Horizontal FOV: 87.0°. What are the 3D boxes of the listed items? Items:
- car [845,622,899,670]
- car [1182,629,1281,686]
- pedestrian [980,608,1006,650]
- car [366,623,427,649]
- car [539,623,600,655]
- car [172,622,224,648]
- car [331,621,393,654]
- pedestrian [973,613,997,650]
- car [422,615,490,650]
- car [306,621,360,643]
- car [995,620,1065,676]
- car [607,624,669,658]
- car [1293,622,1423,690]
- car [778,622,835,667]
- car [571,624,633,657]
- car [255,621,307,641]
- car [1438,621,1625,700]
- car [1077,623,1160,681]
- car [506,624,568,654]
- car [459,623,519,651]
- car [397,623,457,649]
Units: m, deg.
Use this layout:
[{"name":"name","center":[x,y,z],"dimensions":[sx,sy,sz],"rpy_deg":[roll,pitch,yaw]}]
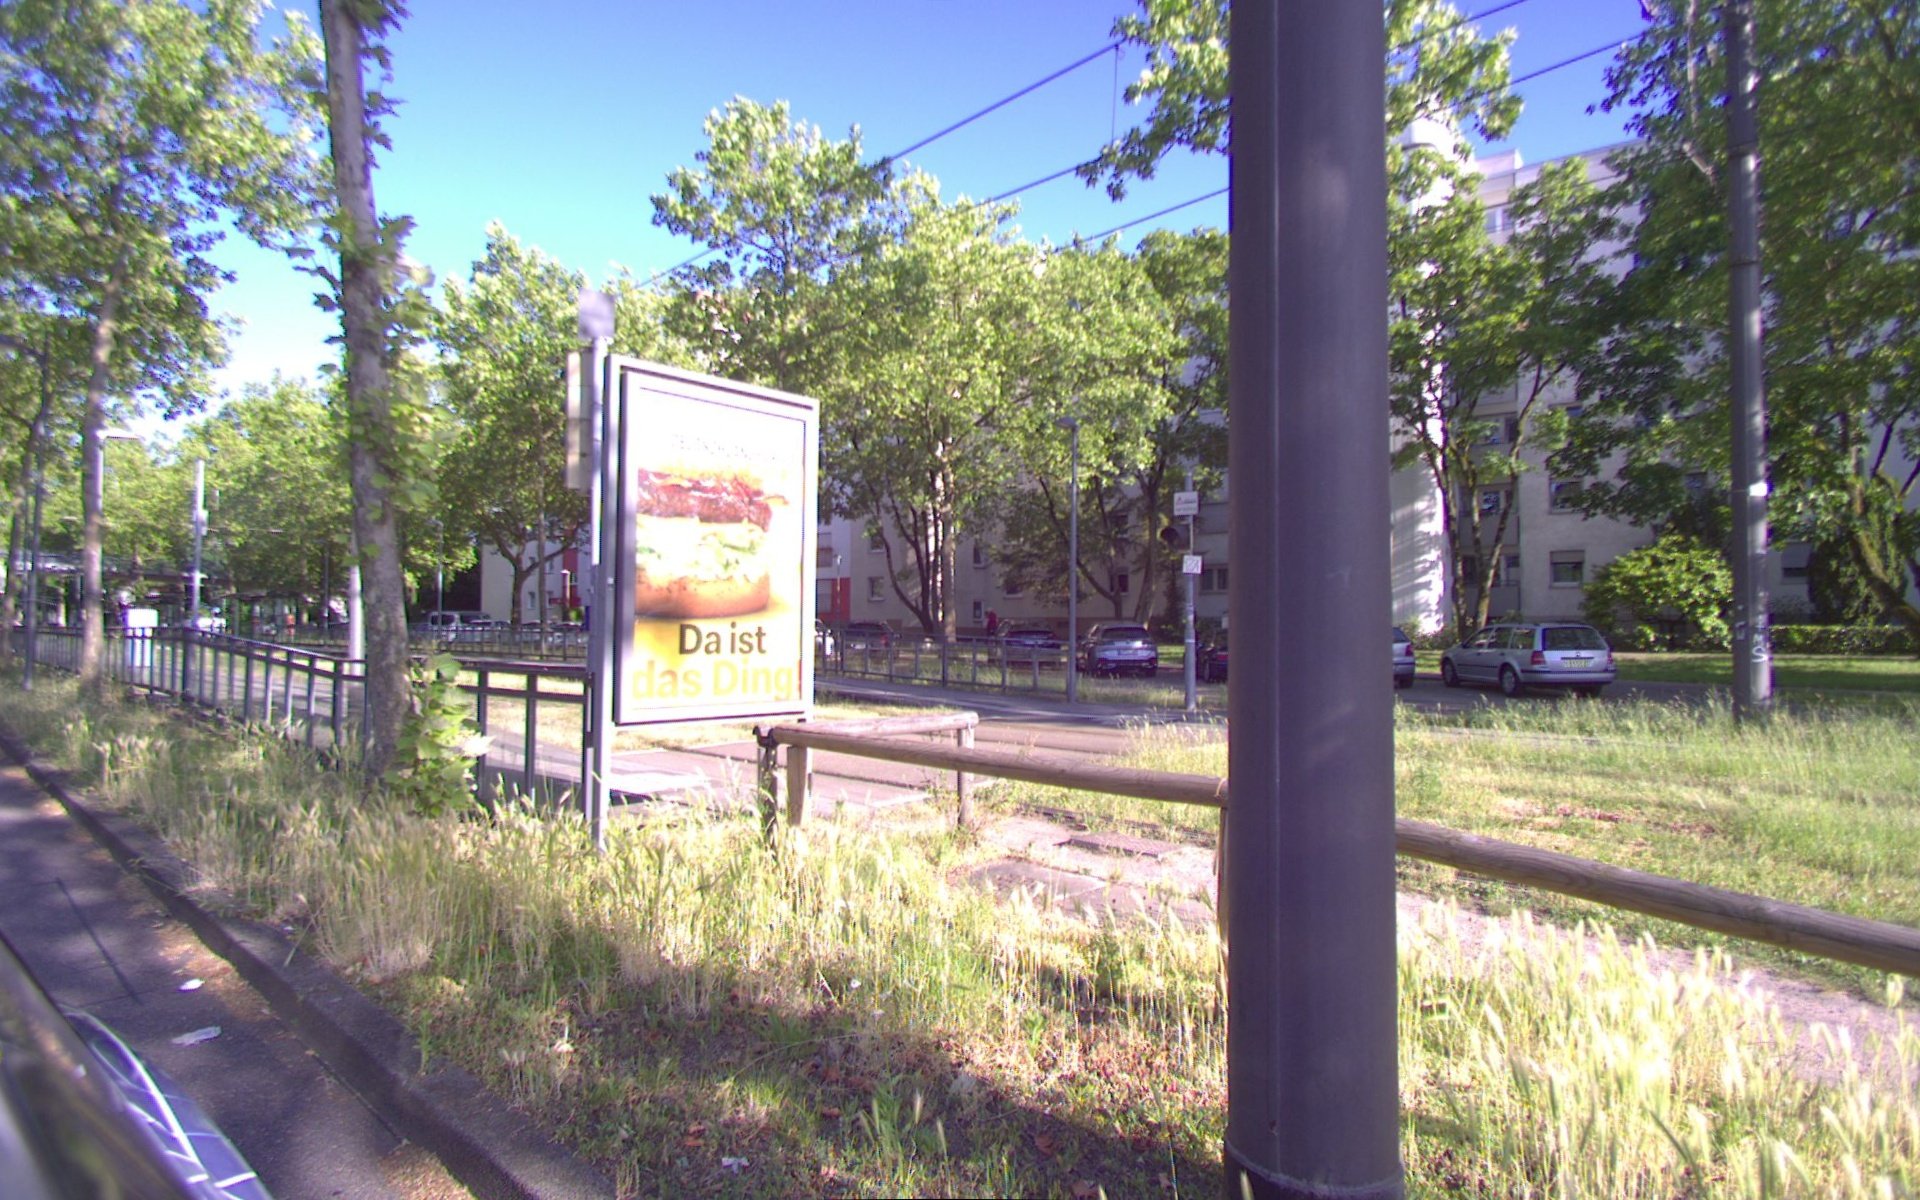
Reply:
[{"name":"car","center":[-2.965,1.528,34.647],"dimensions":[1.633,1.522,3.805],"rpy_deg":[-1,-1,-2]},{"name":"car","center":[6.686,1.379,25.276],"dimensions":[1.445,1.234,3.815],"rpy_deg":[-1,-1,0]},{"name":"pedestrian","center":[1.416,1.231,42.926],"dimensions":[0.786,1.745,0.755],"rpy_deg":[-1,0,39]},{"name":"car","center":[-33.684,2.114,60.600],"dimensions":[1.633,1.452,3.805],"rpy_deg":[-1,-1,-2]},{"name":"car","center":[-19.035,1.898,49.538],"dimensions":[1.633,1.452,3.805],"rpy_deg":[-1,-1,-2]},{"name":"car","center":[-56.871,2.612,75.516],"dimensions":[4.892,1.835,1.811],"rpy_deg":[-1,-1,36]},{"name":"car","center":[-31.701,1.973,53.587],"dimensions":[4.293,1.631,1.634],"rpy_deg":[-2,-1,42]},{"name":"pedestrian","center":[1.126,1.409,45.753],"dimensions":[0.786,1.635,0.755],"rpy_deg":[-1,0,39]},{"name":"car","center":[-28.442,1.825,57.252],"dimensions":[1.814,1.888,4.323],"rpy_deg":[-1,-1,-2]},{"name":"car","center":[-44.969,2.288,72.679],"dimensions":[1.633,1.452,3.805],"rpy_deg":[-1,-1,-2]},{"name":"car","center":[1.994,1.356,29.665],"dimensions":[1.633,1.522,3.805],"rpy_deg":[-1,-1,-2]},{"name":"car","center":[-14.052,1.766,44.335],"dimensions":[1.633,1.366,3.805],"rpy_deg":[-1,-1,-2]},{"name":"car","center":[9.154,1.239,23.589],"dimensions":[1.559,1.413,3.638],"rpy_deg":[-1,-1,0]},{"name":"car","center":[-5.555,1.570,37.016],"dimensions":[1.633,1.522,3.805],"rpy_deg":[-1,-1,-2]},{"name":"car","center":[-16.616,1.856,47.157],"dimensions":[1.633,1.452,3.805],"rpy_deg":[-1,-1,-2]},{"name":"car","center":[-53.040,2.403,79.150],"dimensions":[1.633,1.452,3.805],"rpy_deg":[-1,-1,-2]},{"name":"car","center":[11.485,1.162,20.663],"dimensions":[1.559,1.413,3.906],"rpy_deg":[-1,-1,0]},{"name":"car","center":[4.228,1.365,27.518],"dimensions":[1.633,1.413,3.803],"rpy_deg":[-1,-1,0]},{"name":"car","center":[-21.327,1.941,51.182],"dimensions":[1.633,1.452,3.805],"rpy_deg":[-1,-1,-2]},{"name":"car","center":[-25.860,2.000,55.658],"dimensions":[1.633,1.452,3.805],"rpy_deg":[-1,-1,-2]},{"name":"car","center":[-31.321,2.084,59.597],"dimensions":[1.633,1.452,3.805],"rpy_deg":[-1,-1,-2]}]
